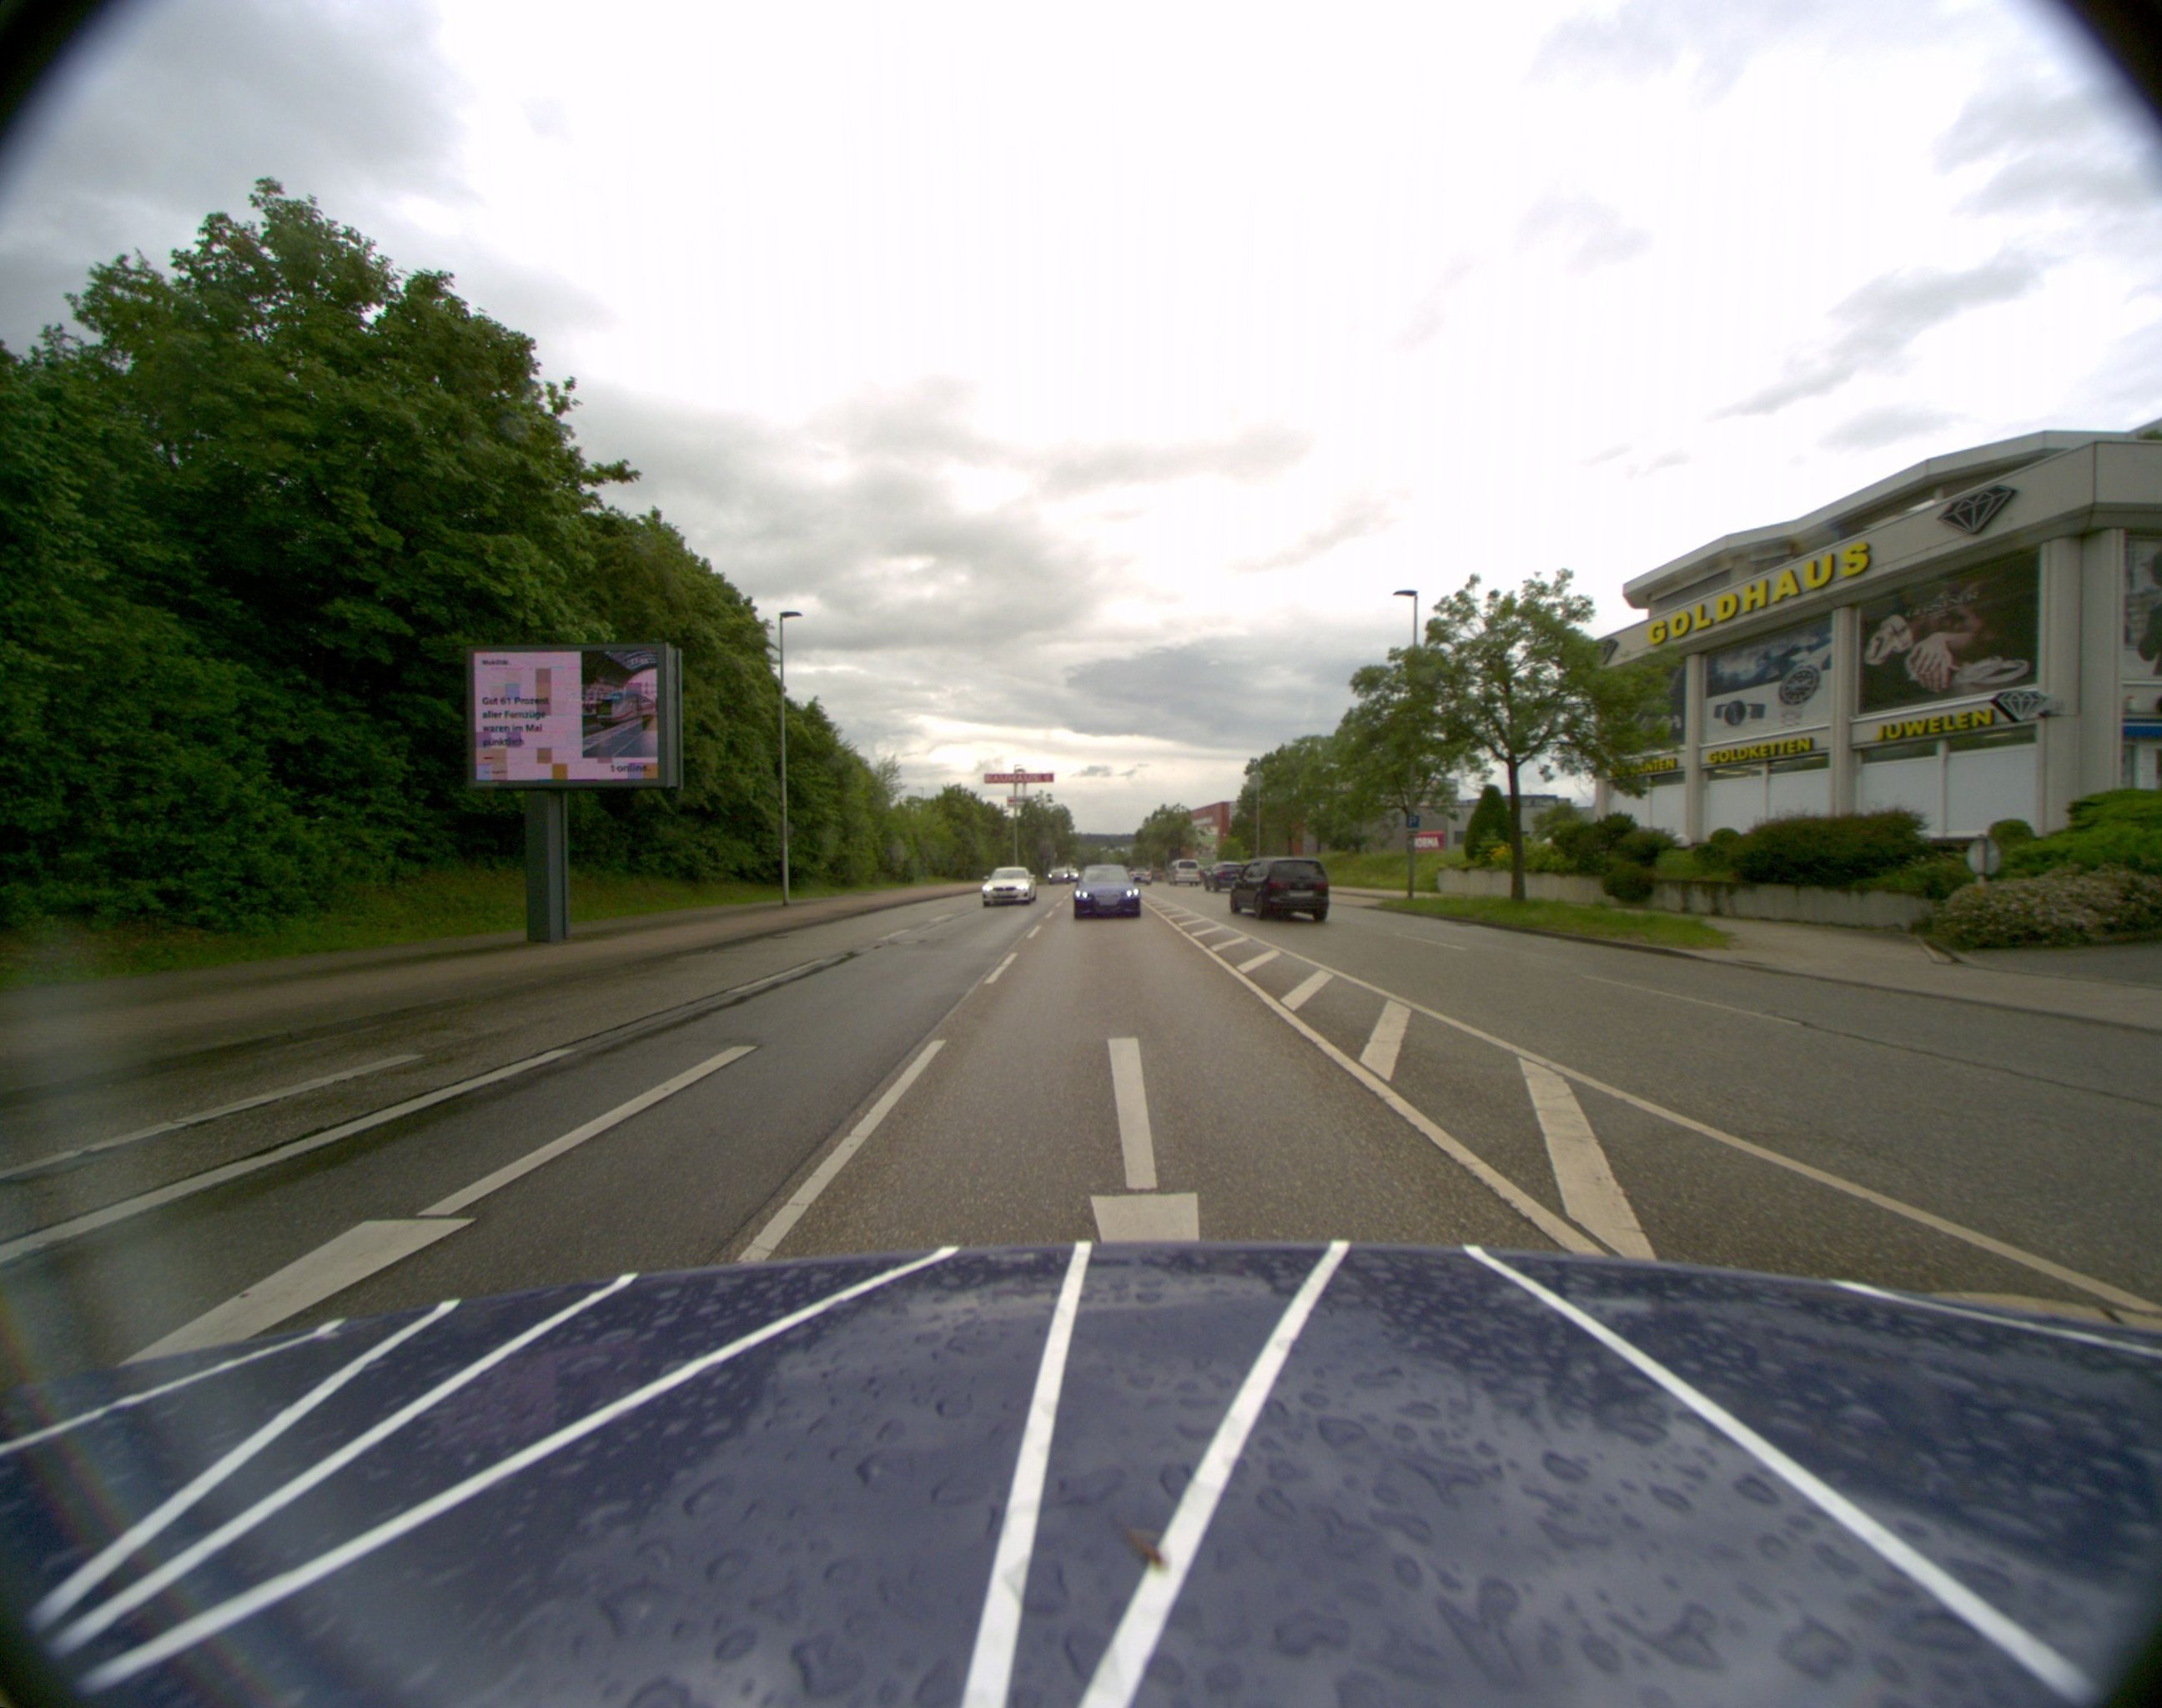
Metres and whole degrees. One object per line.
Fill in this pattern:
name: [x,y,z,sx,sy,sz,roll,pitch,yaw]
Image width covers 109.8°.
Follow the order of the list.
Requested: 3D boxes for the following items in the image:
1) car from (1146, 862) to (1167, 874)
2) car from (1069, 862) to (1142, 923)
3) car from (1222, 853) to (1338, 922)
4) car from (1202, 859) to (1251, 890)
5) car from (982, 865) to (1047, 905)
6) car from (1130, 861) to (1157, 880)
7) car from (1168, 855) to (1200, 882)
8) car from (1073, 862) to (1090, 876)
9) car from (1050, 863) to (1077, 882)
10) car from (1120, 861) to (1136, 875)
car: [8.631,1.588,87.388,1.798,1.393,4.299,1,0,-3]
car: [0.776,1.021,21.891,1.827,1.473,4.841,-2,0,4]
car: [5.238,0.816,20.584,1.761,1.667,4.146,1,0,-4]
car: [8.001,1.068,42.107,1.756,1.601,4.532,1,0,-1]
car: [-2.616,1.199,30.670,1.863,1.473,4.002,-1,-1,6]
car: [4.783,1.236,58.913,1.671,1.390,3.999,1,0,-1]
car: [7.985,1.096,59.053,1.800,1.971,4.898,1,0,0]
car: [0.072,1.762,90.355,1.853,1.565,4.000,-2,0,0]
car: [-1.588,1.703,70.886,2.113,1.609,4.842,-1,-1,4]
car: [5.661,1.683,91.941,1.827,1.598,4.284,1,0,1]
